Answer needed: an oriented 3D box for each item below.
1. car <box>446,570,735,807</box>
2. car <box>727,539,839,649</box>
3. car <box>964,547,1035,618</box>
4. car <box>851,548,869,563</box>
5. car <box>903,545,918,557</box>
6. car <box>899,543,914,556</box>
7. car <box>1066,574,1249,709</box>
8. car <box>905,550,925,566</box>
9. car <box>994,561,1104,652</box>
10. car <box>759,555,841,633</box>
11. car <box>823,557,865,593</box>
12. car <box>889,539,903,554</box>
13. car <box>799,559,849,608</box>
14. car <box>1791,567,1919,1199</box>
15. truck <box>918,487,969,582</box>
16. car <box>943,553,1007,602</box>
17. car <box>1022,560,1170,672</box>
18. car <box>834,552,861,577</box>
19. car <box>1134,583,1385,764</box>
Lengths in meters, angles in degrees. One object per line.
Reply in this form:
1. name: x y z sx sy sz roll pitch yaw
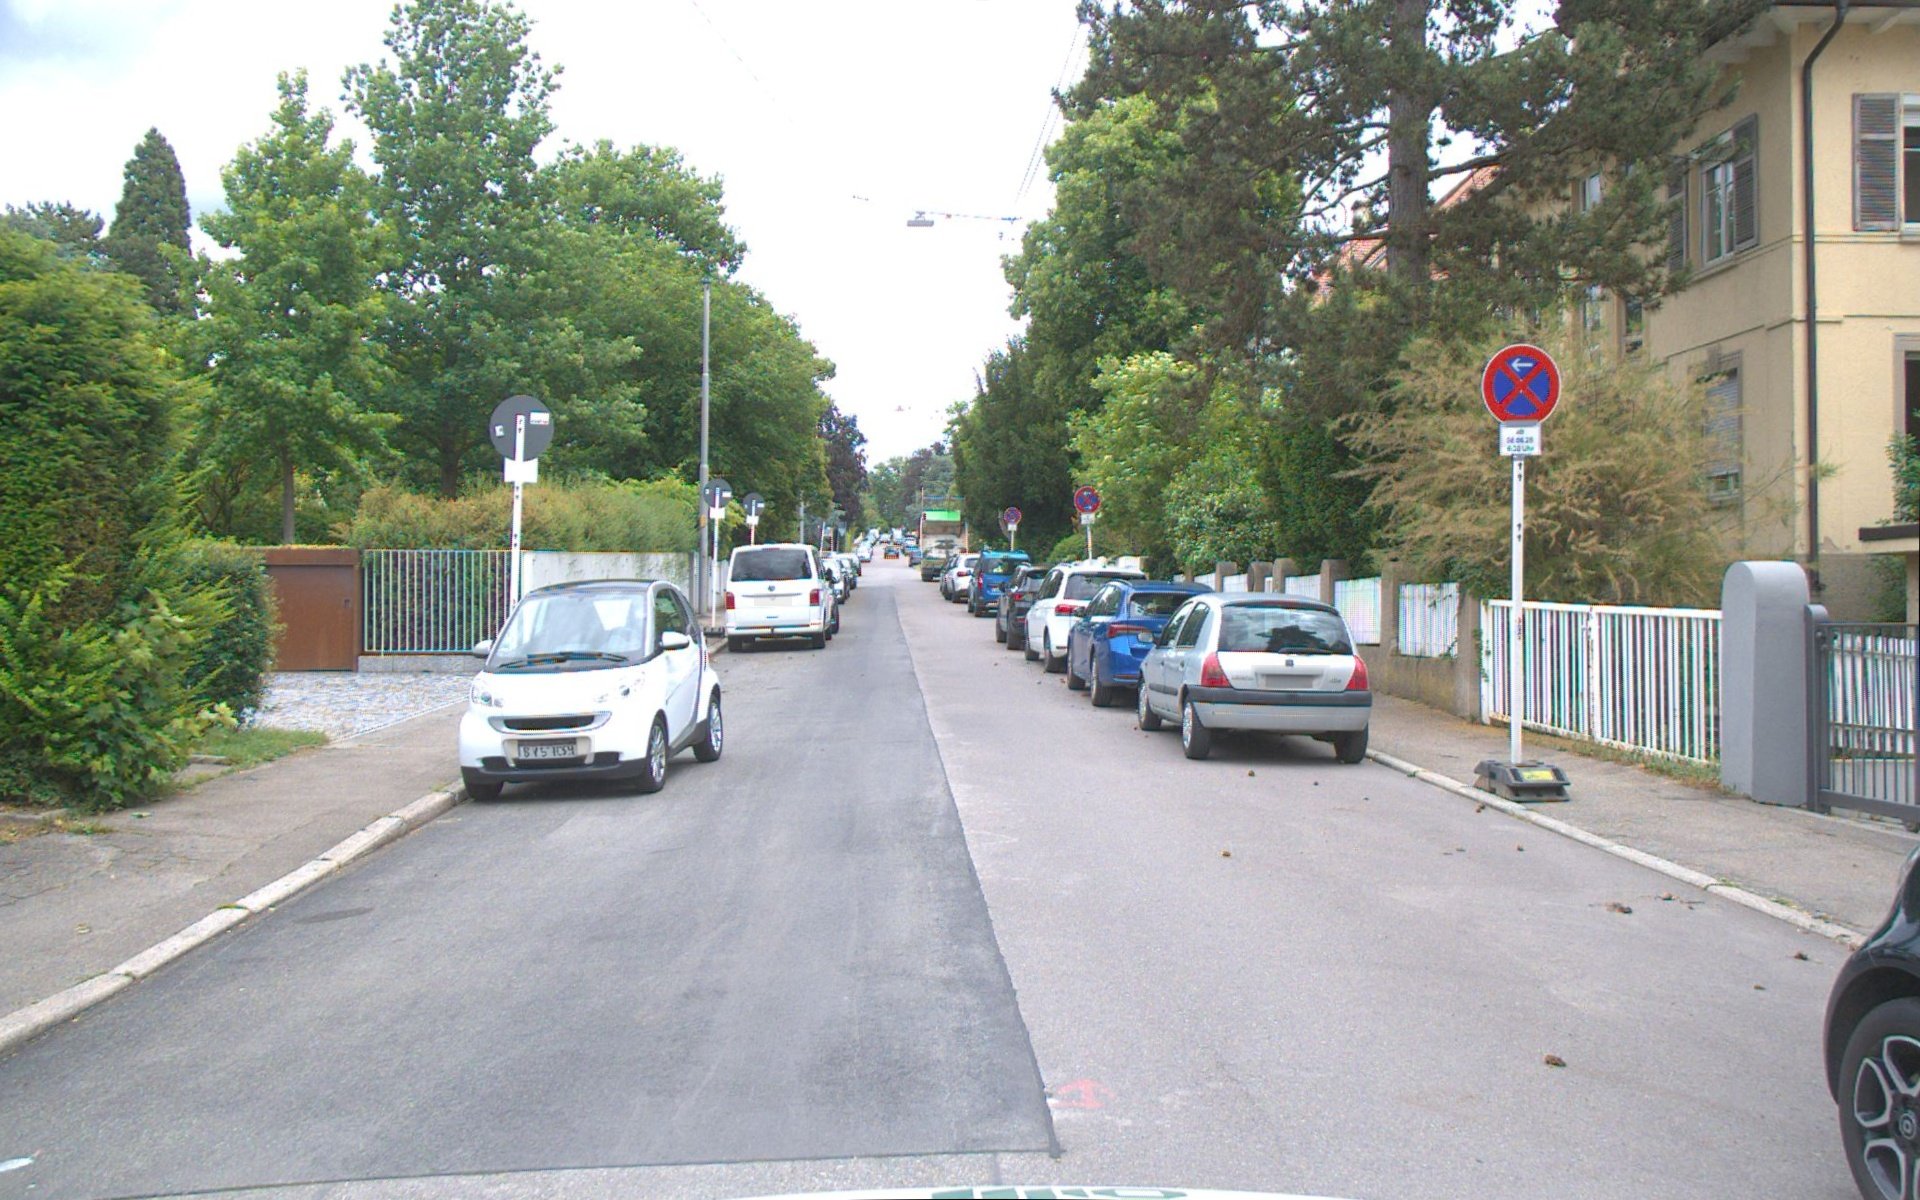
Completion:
1. car: -2.814 0.608 13.141 1.412 1.579 2.771 -3 1 4
2. car: -3.420 -0.157 32.677 1.817 1.946 4.618 -3 1 -2
3. car: 1.081 -0.542 47.100 1.649 1.861 4.155 2 2 -3
4. car: -10.705 -4.812 177.753 1.676 1.613 4.001 0 2 0
5. car: -6.035 -5.945 201.719 1.774 1.358 3.631 1 3 -4
6. car: -6.804 -6.441 210.575 1.753 1.556 3.734 0 2 -1
7. car: 2.343 0.440 20.523 1.614 1.484 4.050 1 1 -2
8. car: -4.348 -4.063 158.130 1.743 1.515 3.998 0 2 -4
9. car: 1.695 0.081 32.721 1.715 1.636 4.073 2 1 -3
10. car: -3.717 -0.188 38.721 1.756 1.651 4.339 -2 2 -5
11. car: -5.221 -1.164 74.909 1.607 1.446 4.549 -3 2 -1
12. car: -7.341 -6.169 189.752 1.601 1.730 3.493 0 2 -3
13. car: -4.716 -0.588 57.079 1.591 1.559 2.959 -3 2 -6
14. car: 3.145 0.756 3.067 1.541 1.558 2.865 2 1 -5
15. truck: -0.944 -3.487 88.553 2.473 4.830 7.185 1 2 -2
16. car: 0.491 -0.824 58.032 1.723 1.634 4.570 1 2 -6
17. car: 2.116 0.190 26.916 1.750 1.631 4.302 1 1 -4
18. car: -6.922 -2.174 101.869 1.605 1.419 3.986 -2 2 -4
19. car: 2.677 0.594 15.545 1.542 1.424 3.654 1 1 -2
